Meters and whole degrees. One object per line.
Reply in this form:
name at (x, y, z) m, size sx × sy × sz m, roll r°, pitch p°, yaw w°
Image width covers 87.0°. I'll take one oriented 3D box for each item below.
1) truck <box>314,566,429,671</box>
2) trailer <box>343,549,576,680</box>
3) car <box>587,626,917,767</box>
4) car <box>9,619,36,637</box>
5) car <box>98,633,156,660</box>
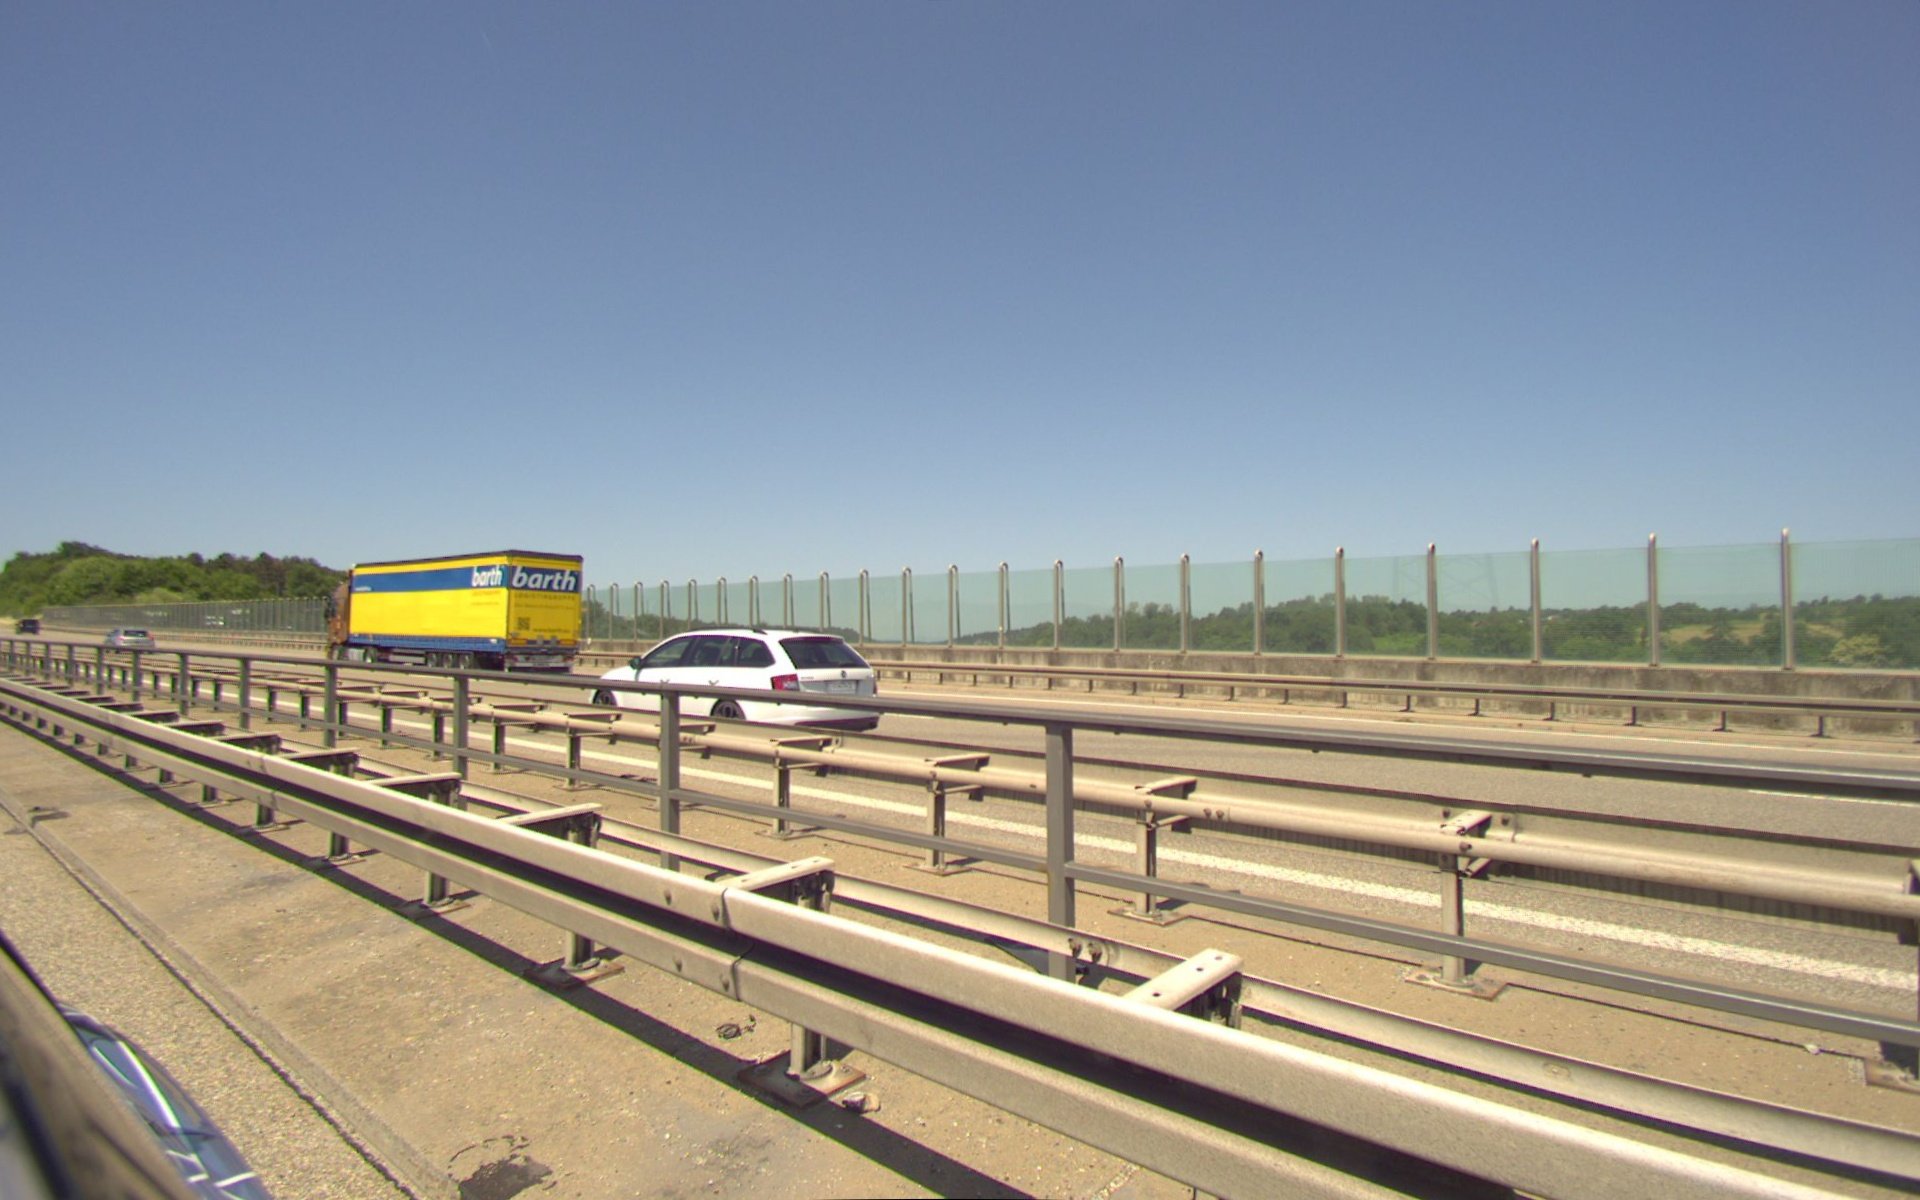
truck at (-24.440, 0.791, 41.952) m, size 5.540 × 4.089 × 2.389 m, roll -1°, pitch -3°, yaw 41°
trailer at (-18.663, 0.621, 36.922) m, size 13.793 × 4.095 × 2.397 m, roll -2°, pitch -3°, yaw 41°
car at (-2.702, 1.072, 12.580) m, size 4.284 × 1.460 × 1.739 m, roll -1°, pitch -3°, yaw 40°
car at (-112.928, 3.380, 121.886) m, size 3.967 × 2.029 × 1.995 m, roll -1°, pitch 0°, yaw 41°
car at (-45.942, 2.558, 55.806) m, size 4.075 × 1.392 × 1.744 m, roll -1°, pitch -3°, yaw 40°
